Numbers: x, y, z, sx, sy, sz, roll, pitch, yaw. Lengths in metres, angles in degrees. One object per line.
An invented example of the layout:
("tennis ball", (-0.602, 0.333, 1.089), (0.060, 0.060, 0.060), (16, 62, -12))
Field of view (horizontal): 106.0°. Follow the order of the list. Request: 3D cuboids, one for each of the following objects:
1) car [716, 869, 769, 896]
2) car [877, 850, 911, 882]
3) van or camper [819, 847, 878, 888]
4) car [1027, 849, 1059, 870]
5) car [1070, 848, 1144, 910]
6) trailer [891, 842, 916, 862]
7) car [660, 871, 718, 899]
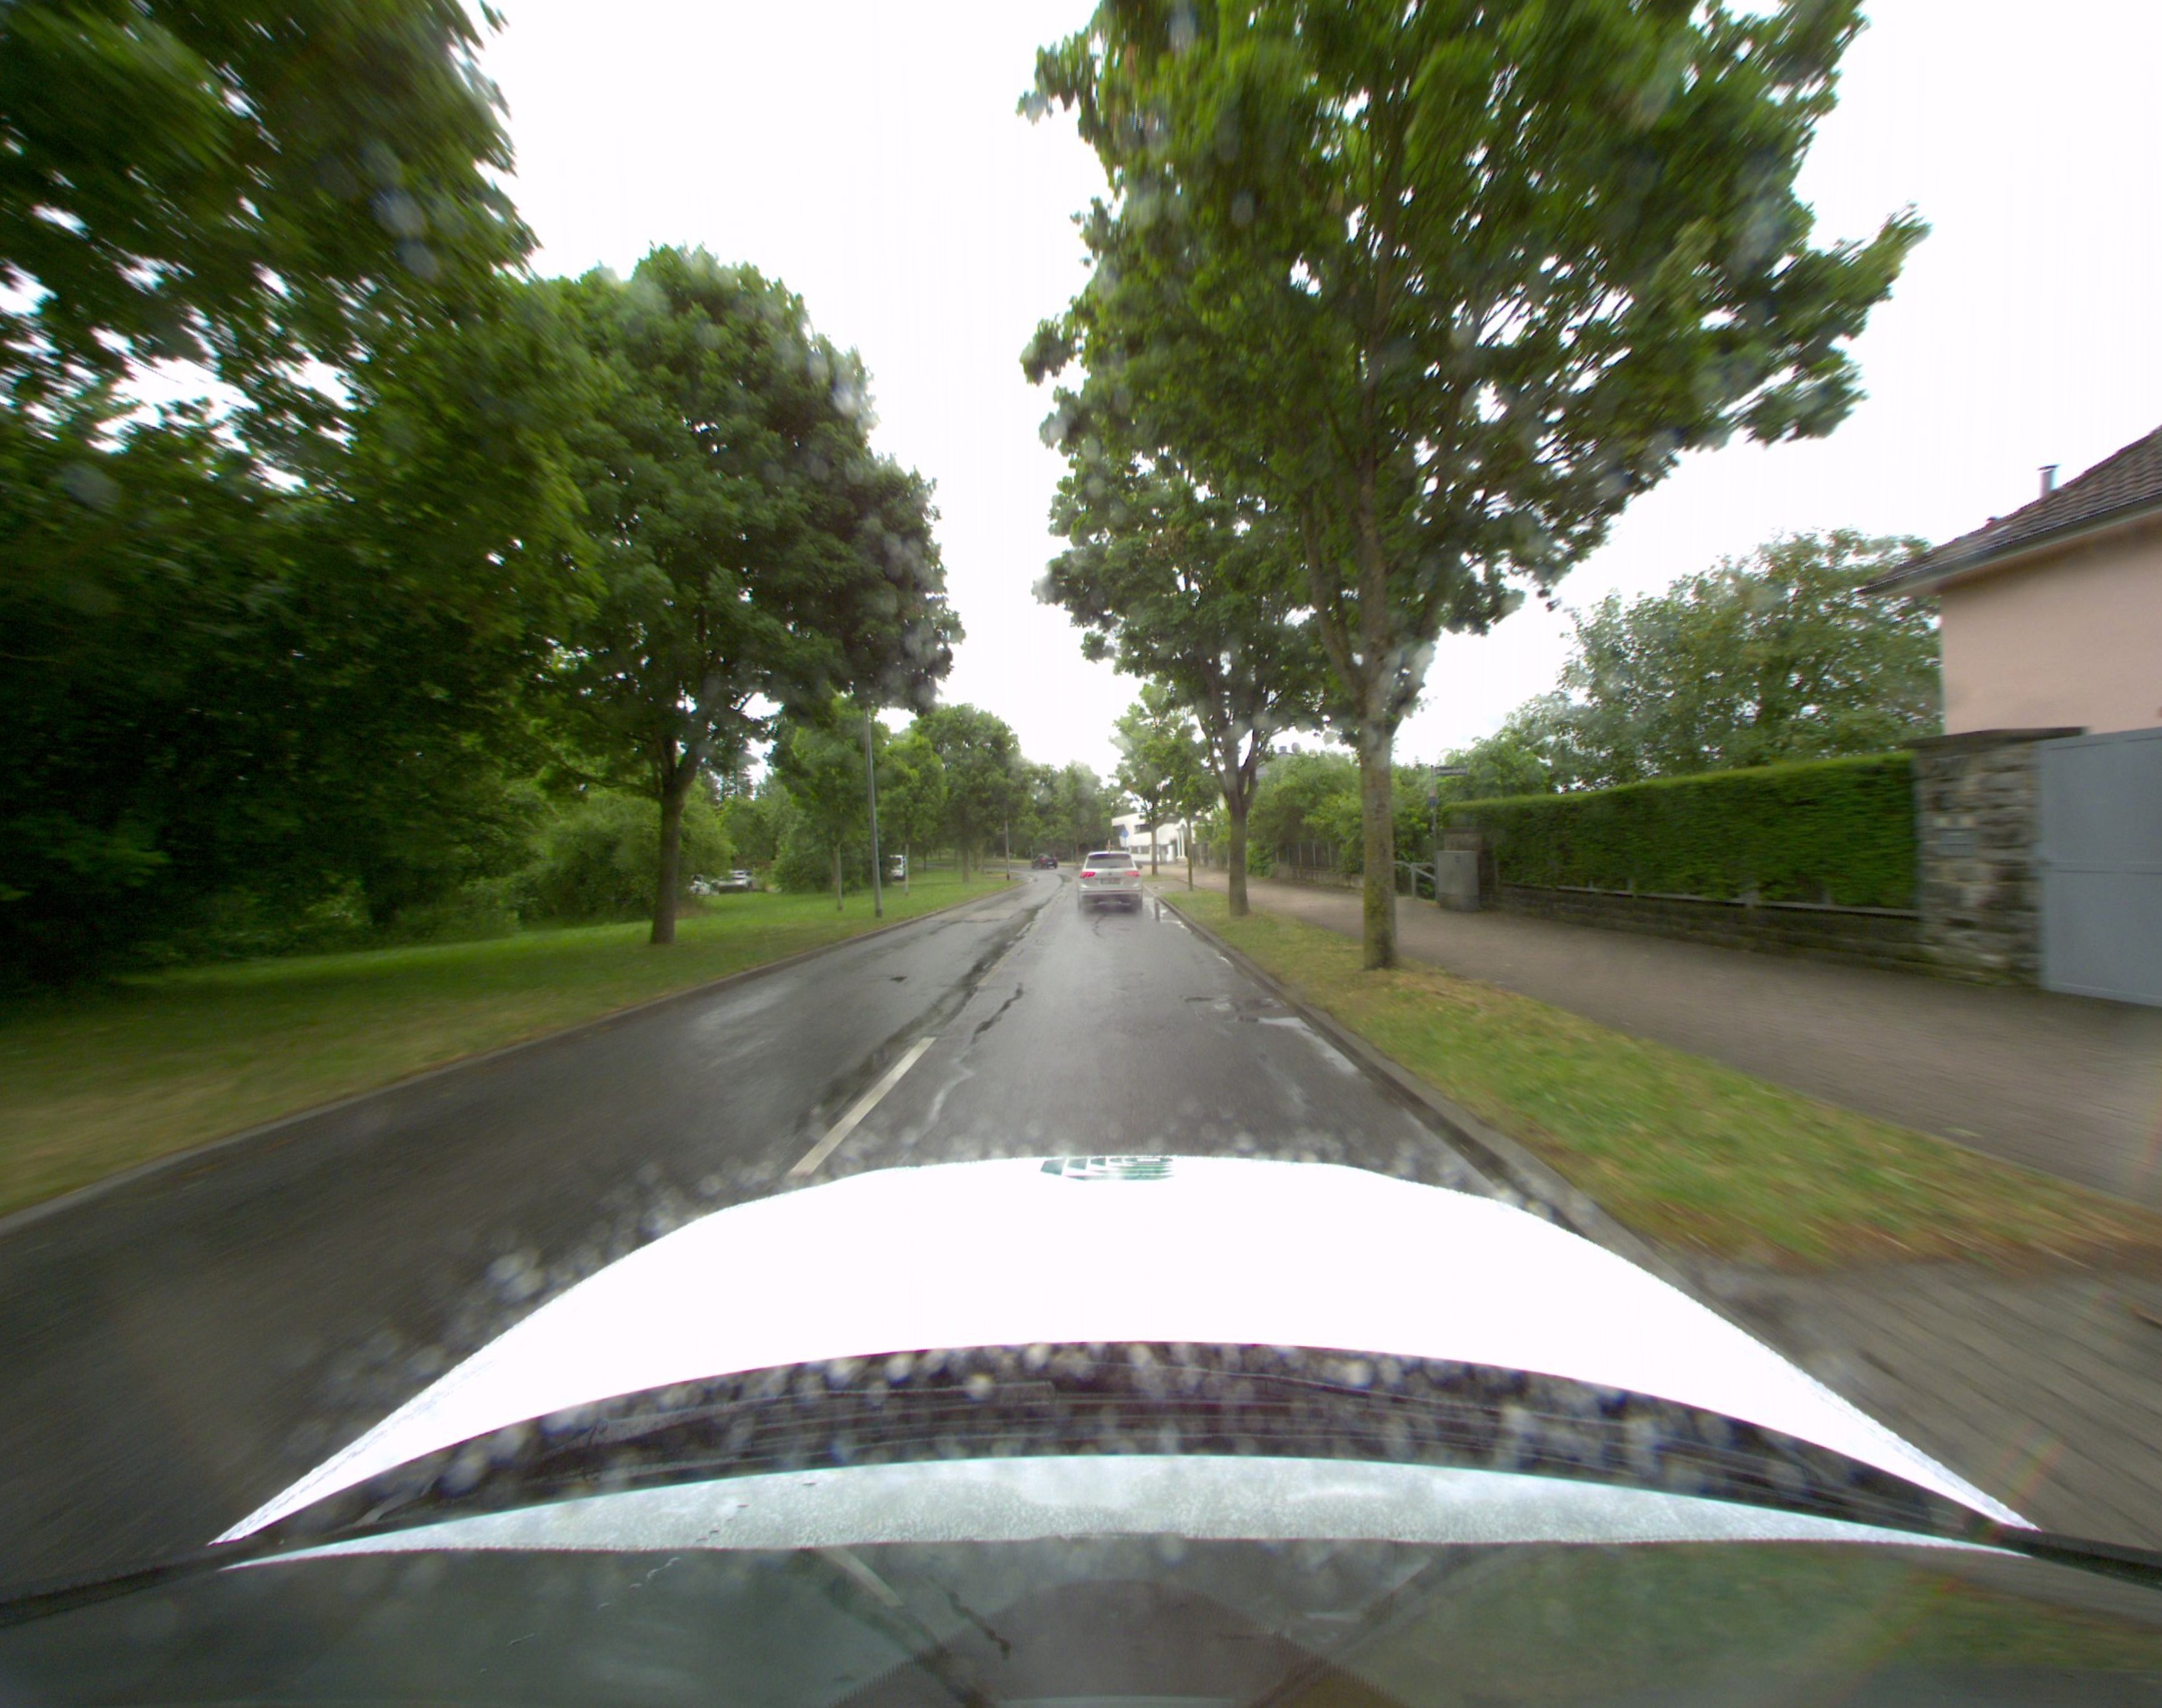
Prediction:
("car", (-21.662, 1.805, 52.326), (1.788, 1.537, 4.992), (-2, -1, -6))
("car", (-14.648, 0.893, 63.971), (2.127, 1.985, 5.458), (-4, 3, -9))
("van or camper", (-14.881, 0.842, 52.531), (2.381, 2.360, 6.796), (-3, 0, -6))
("car", (-3.755, 0.544, 79.299), (1.909, 2.014, 3.914), (0, 0, -23))
("car", (0.785, 0.666, 23.970), (1.966, 1.653, 4.179), (-1, 0, 2))
("trailer", (-27.299, -0.279, 124.941), (2.006, 2.807, 5.556), (-8, 4, -29))
("car", (-25.083, 1.969, 52.260), (1.850, 1.581, 4.344), (-2, -1, -5))
